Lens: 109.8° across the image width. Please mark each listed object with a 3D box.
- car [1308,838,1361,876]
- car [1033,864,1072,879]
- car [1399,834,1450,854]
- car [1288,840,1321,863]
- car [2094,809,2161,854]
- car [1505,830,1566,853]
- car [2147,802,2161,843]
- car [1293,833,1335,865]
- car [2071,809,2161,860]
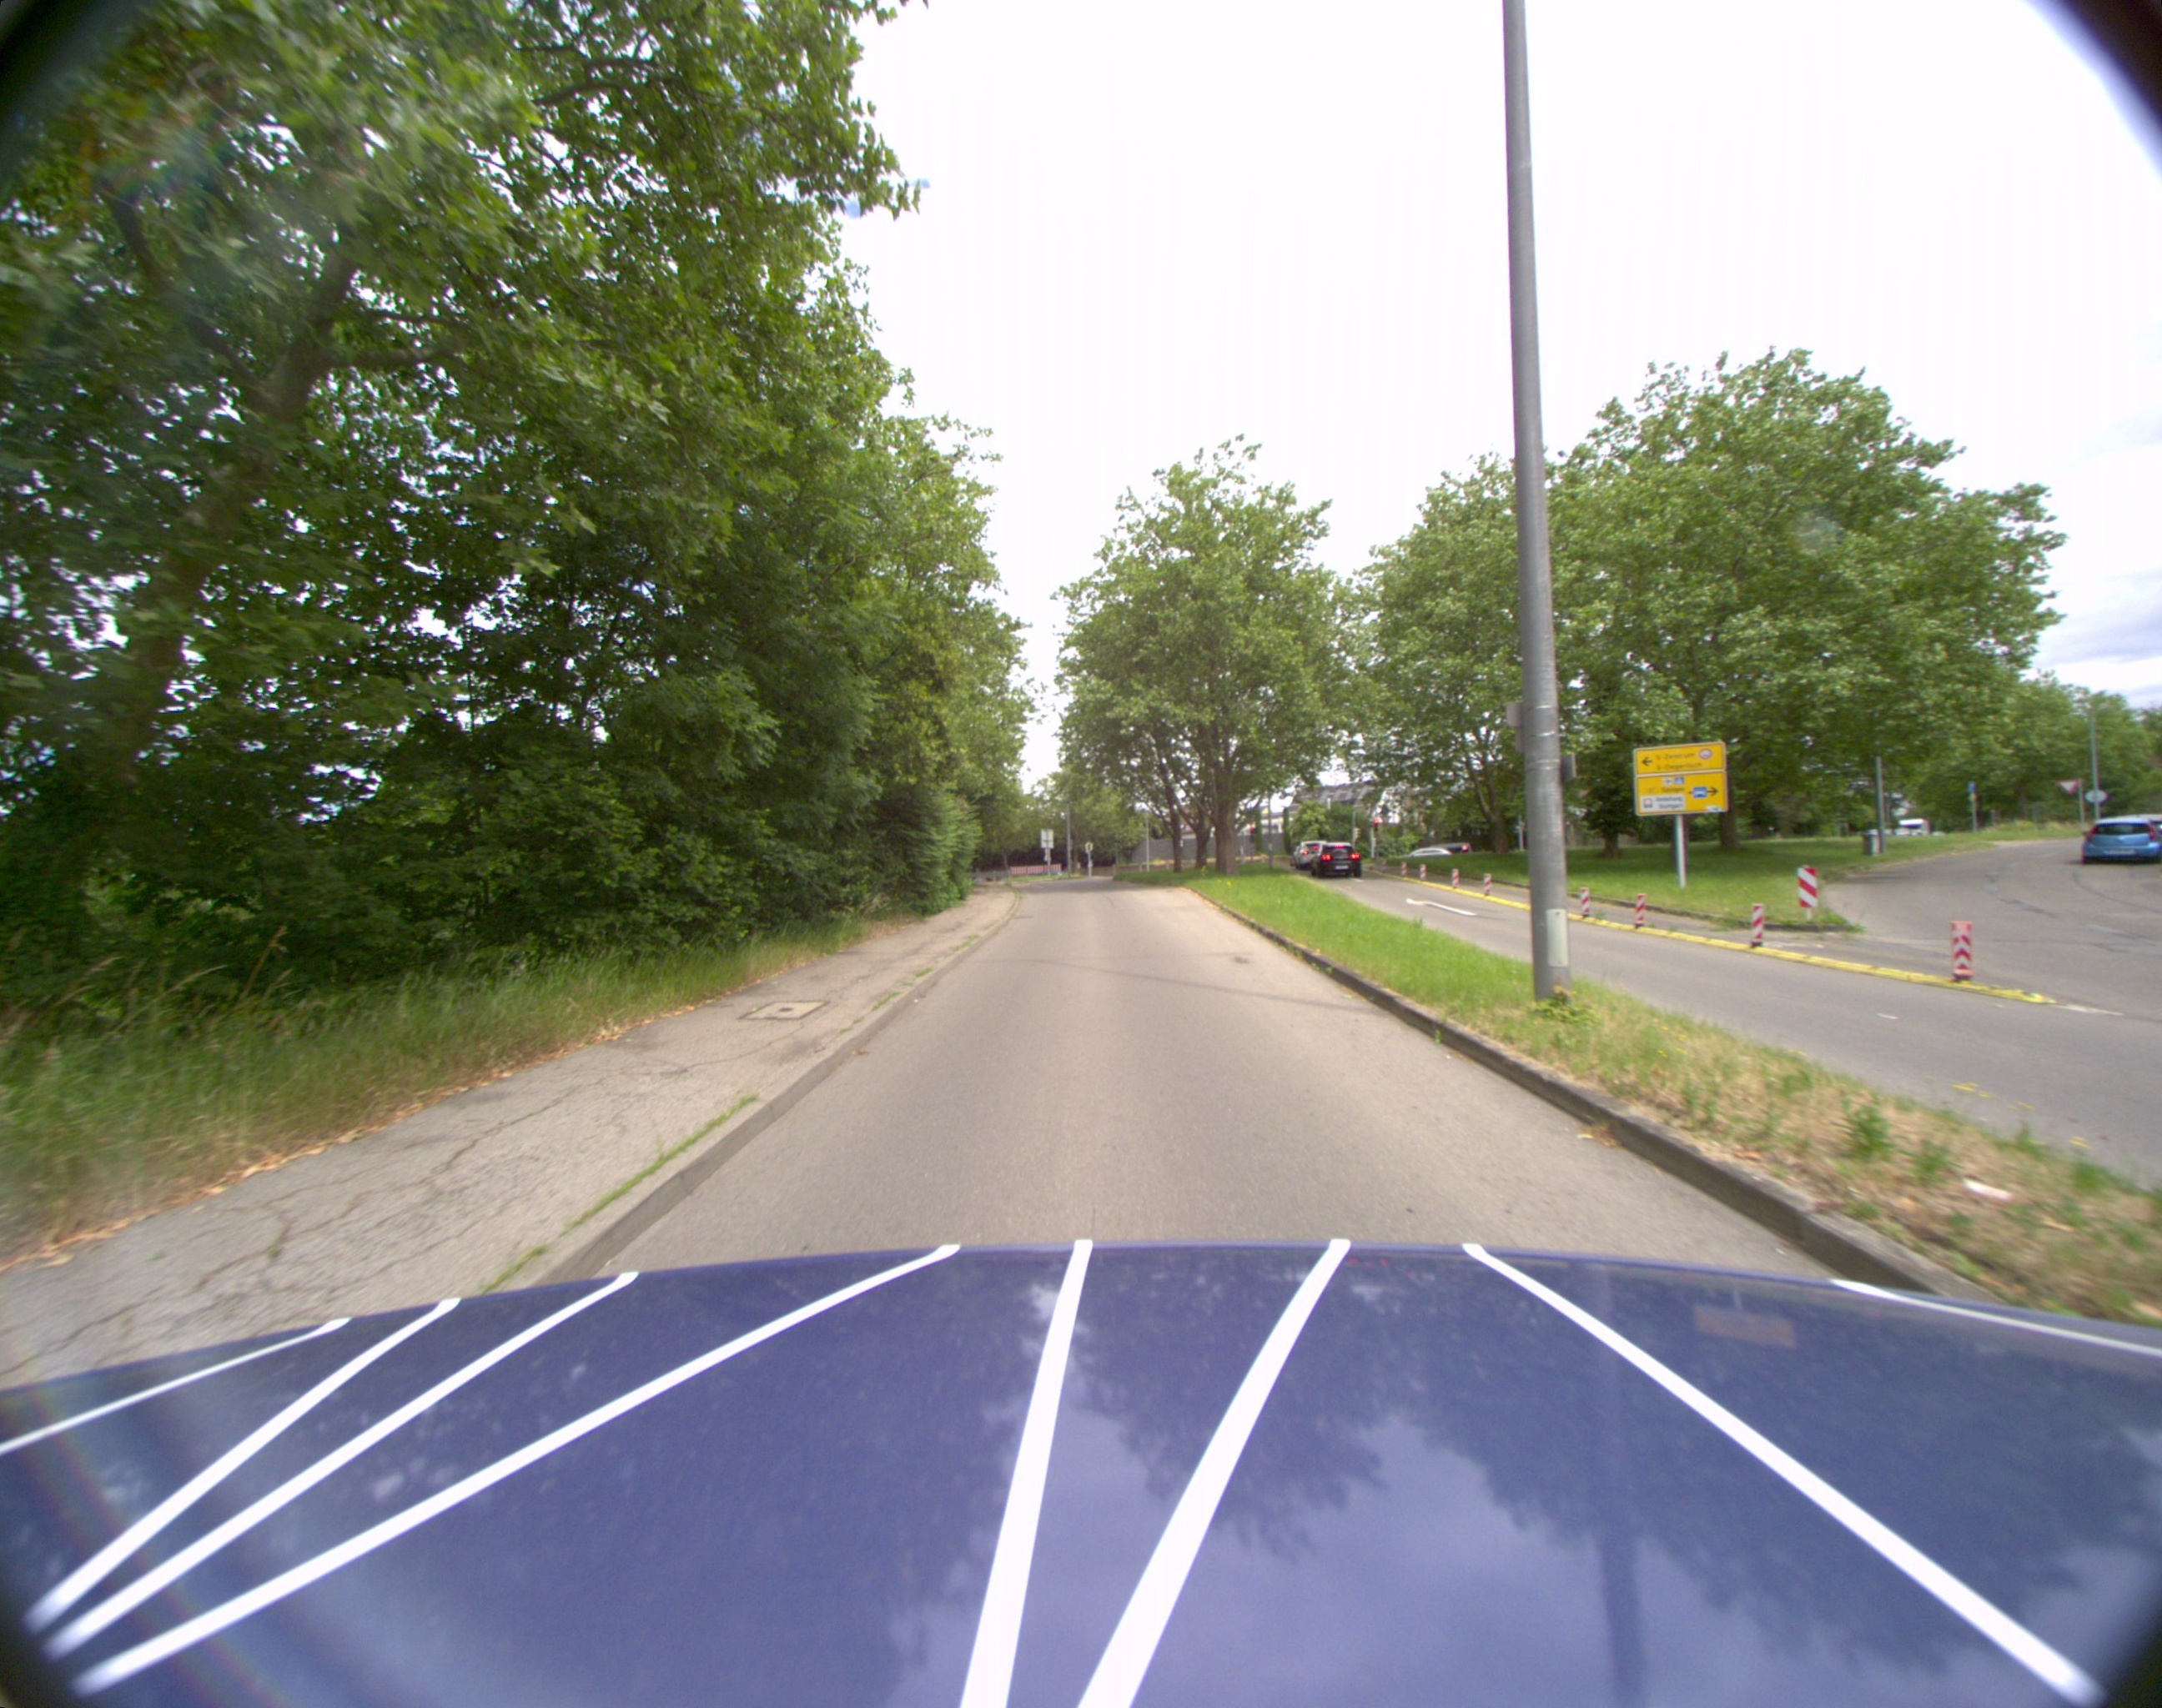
[{"bbox_3d":[12.086,0.095,36.453,1.760,1.582,4.615,-3,2,11],"label":"car"},{"bbox_3d":[-3.105,1.901,82.701,4.137,1.419,1.802,-4,-5,41],"label":"car"},{"bbox_3d":[28.942,-0.839,64.037,3.637,1.520,1.654,-2,-2,32],"label":"car"},{"bbox_3d":[15.758,-0.177,53.721,1.760,1.508,4.390,-3,0,11],"label":"car"},{"bbox_3d":[41.401,-0.909,29.716,4.002,1.505,1.658,-4,-1,-31],"label":"car"},{"bbox_3d":[31.887,-0.889,53.330,3.636,1.515,1.654,1,-1,32],"label":"car"},{"bbox_3d":[50.992,-1.621,34.210,4.887,1.780,2.214,-4,-1,-20],"label":"car"},{"bbox_3d":[14.037,-0.242,45.950,1.854,1.648,4.912,-3,-2,11],"label":"car"},{"bbox_3d":[37.248,-0.715,27.293,3.784,1.545,1.779,-4,-1,-34],"label":"car"}]
